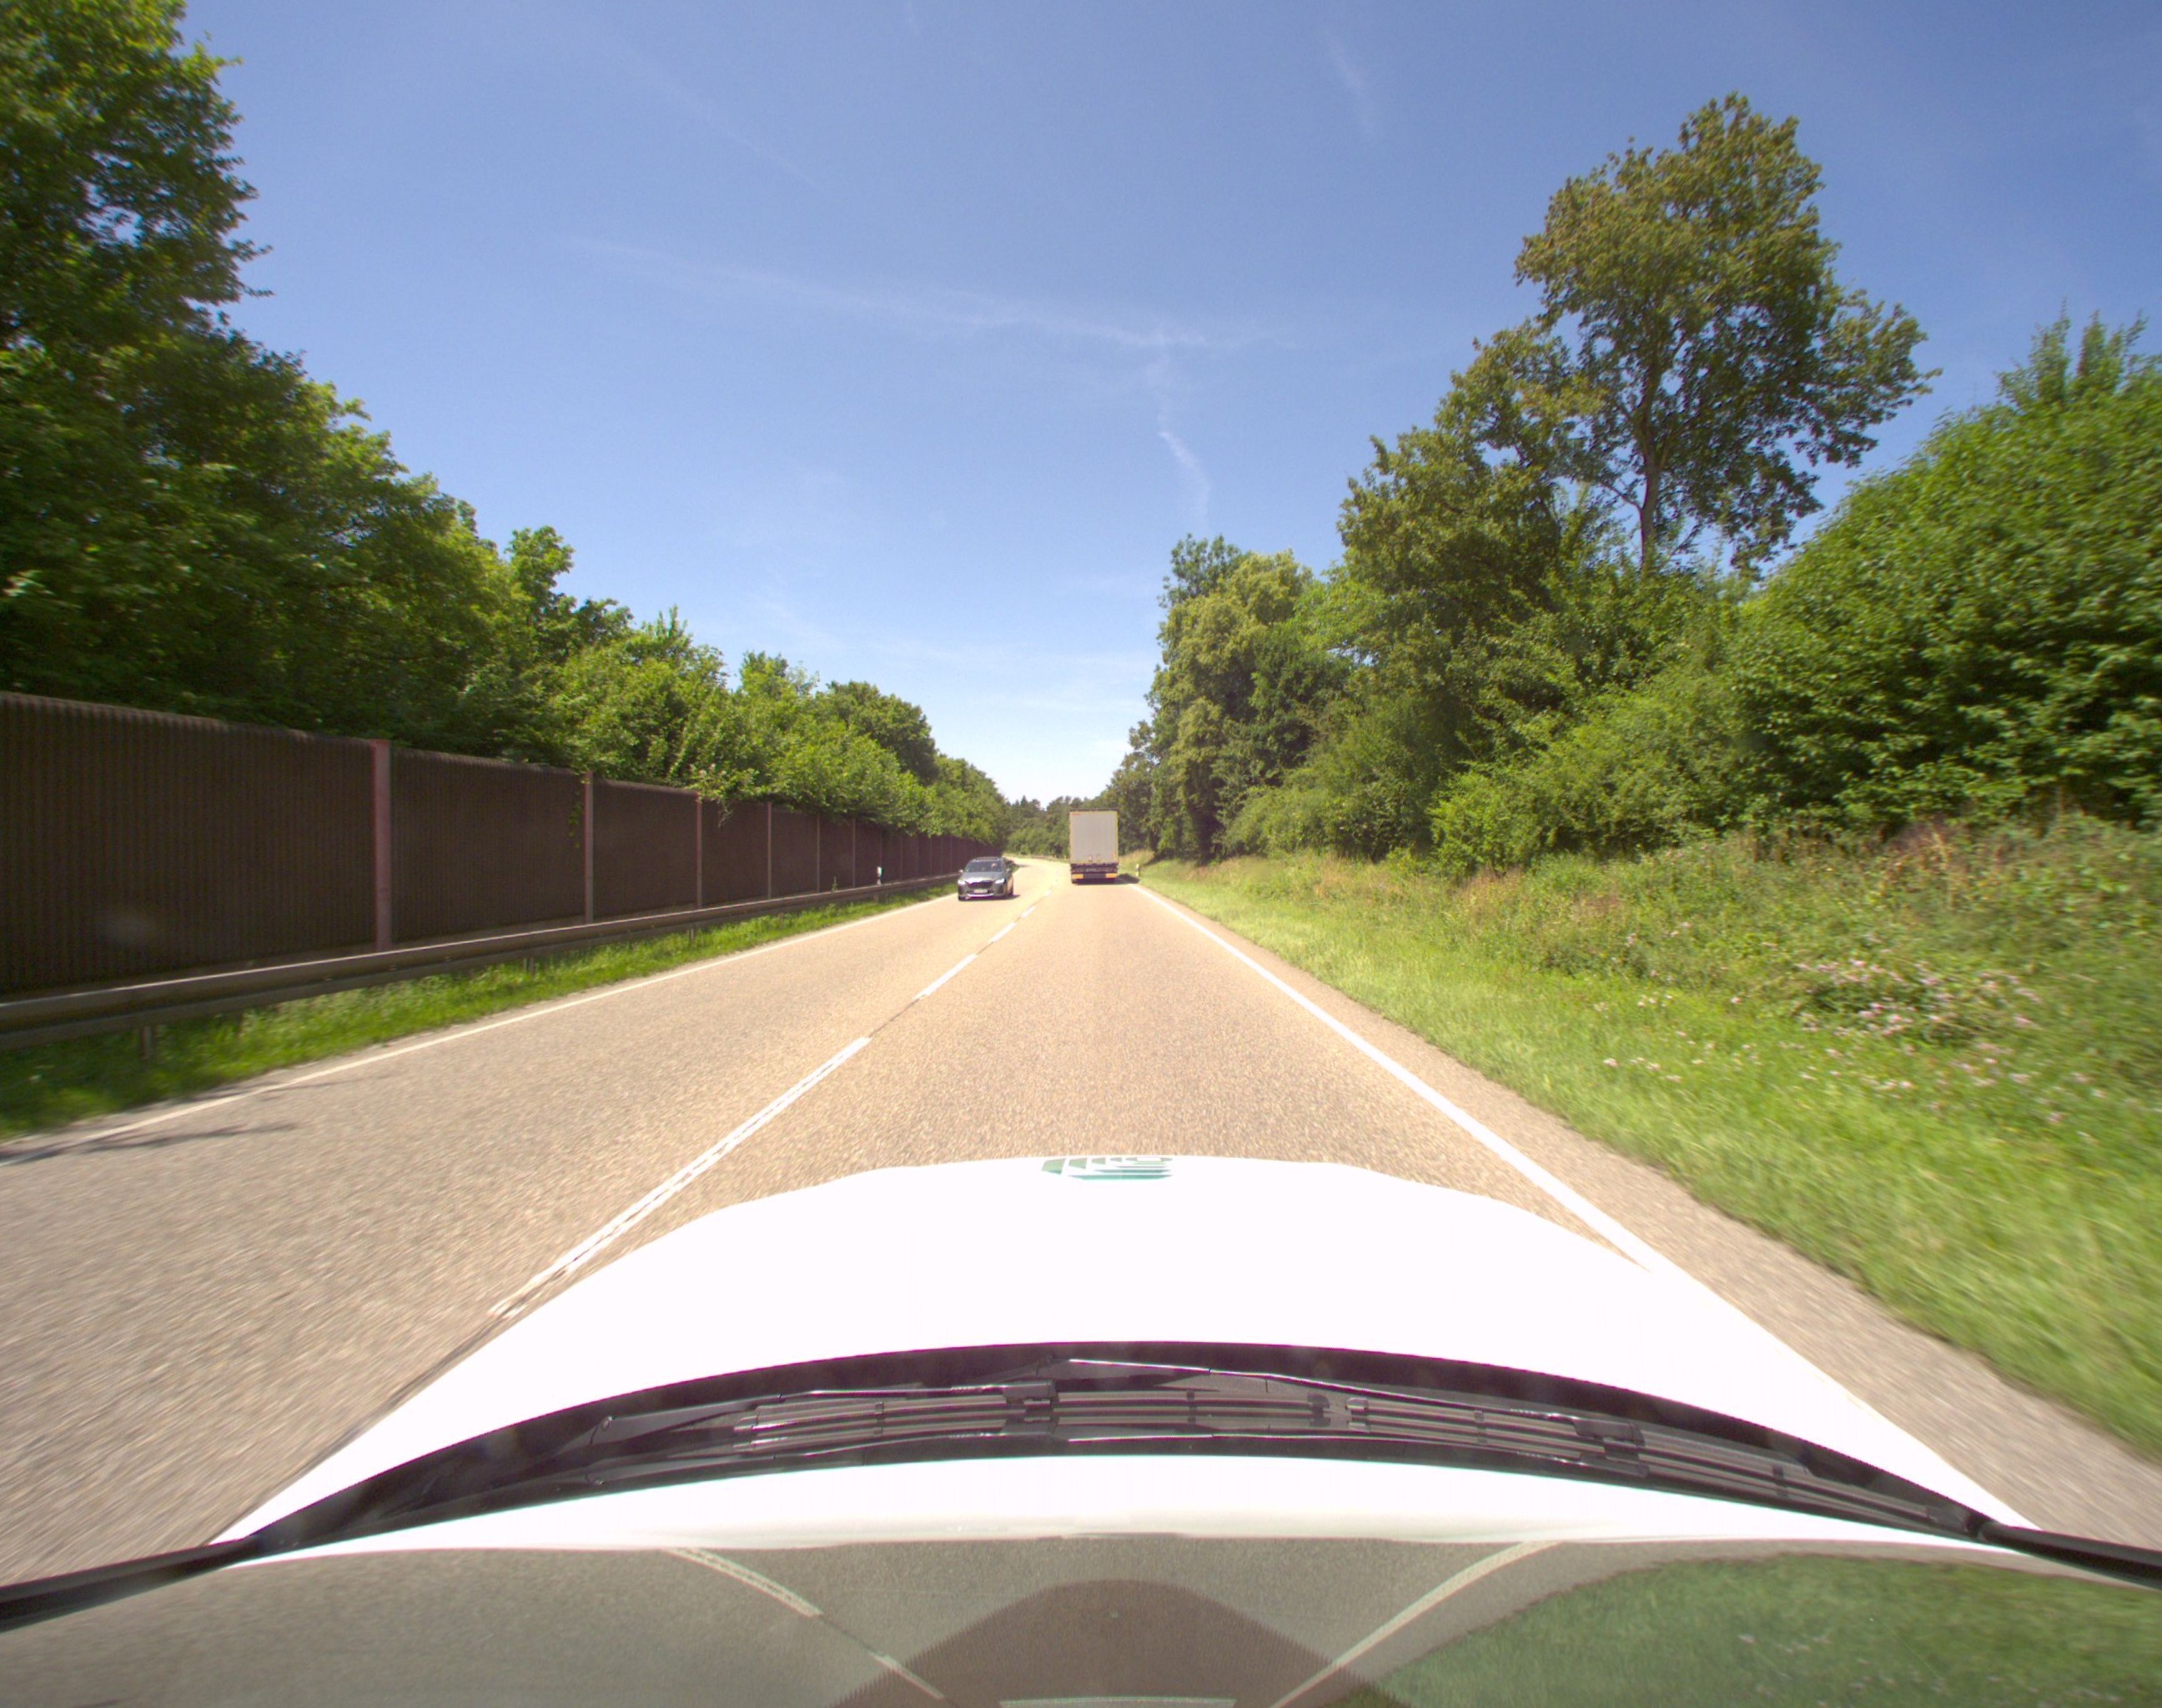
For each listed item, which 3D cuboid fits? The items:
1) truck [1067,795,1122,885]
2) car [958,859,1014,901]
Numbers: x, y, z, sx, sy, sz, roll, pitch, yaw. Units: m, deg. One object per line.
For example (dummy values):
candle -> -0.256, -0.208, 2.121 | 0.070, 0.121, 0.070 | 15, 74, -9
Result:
truck -> 0.738, -0.664, 45.460 | 2.813, 4.604, 6.665 | -1, -1, 1
car -> -3.574, 0.941, 31.274 | 1.611, 1.491, 3.617 | -1, 0, 1
